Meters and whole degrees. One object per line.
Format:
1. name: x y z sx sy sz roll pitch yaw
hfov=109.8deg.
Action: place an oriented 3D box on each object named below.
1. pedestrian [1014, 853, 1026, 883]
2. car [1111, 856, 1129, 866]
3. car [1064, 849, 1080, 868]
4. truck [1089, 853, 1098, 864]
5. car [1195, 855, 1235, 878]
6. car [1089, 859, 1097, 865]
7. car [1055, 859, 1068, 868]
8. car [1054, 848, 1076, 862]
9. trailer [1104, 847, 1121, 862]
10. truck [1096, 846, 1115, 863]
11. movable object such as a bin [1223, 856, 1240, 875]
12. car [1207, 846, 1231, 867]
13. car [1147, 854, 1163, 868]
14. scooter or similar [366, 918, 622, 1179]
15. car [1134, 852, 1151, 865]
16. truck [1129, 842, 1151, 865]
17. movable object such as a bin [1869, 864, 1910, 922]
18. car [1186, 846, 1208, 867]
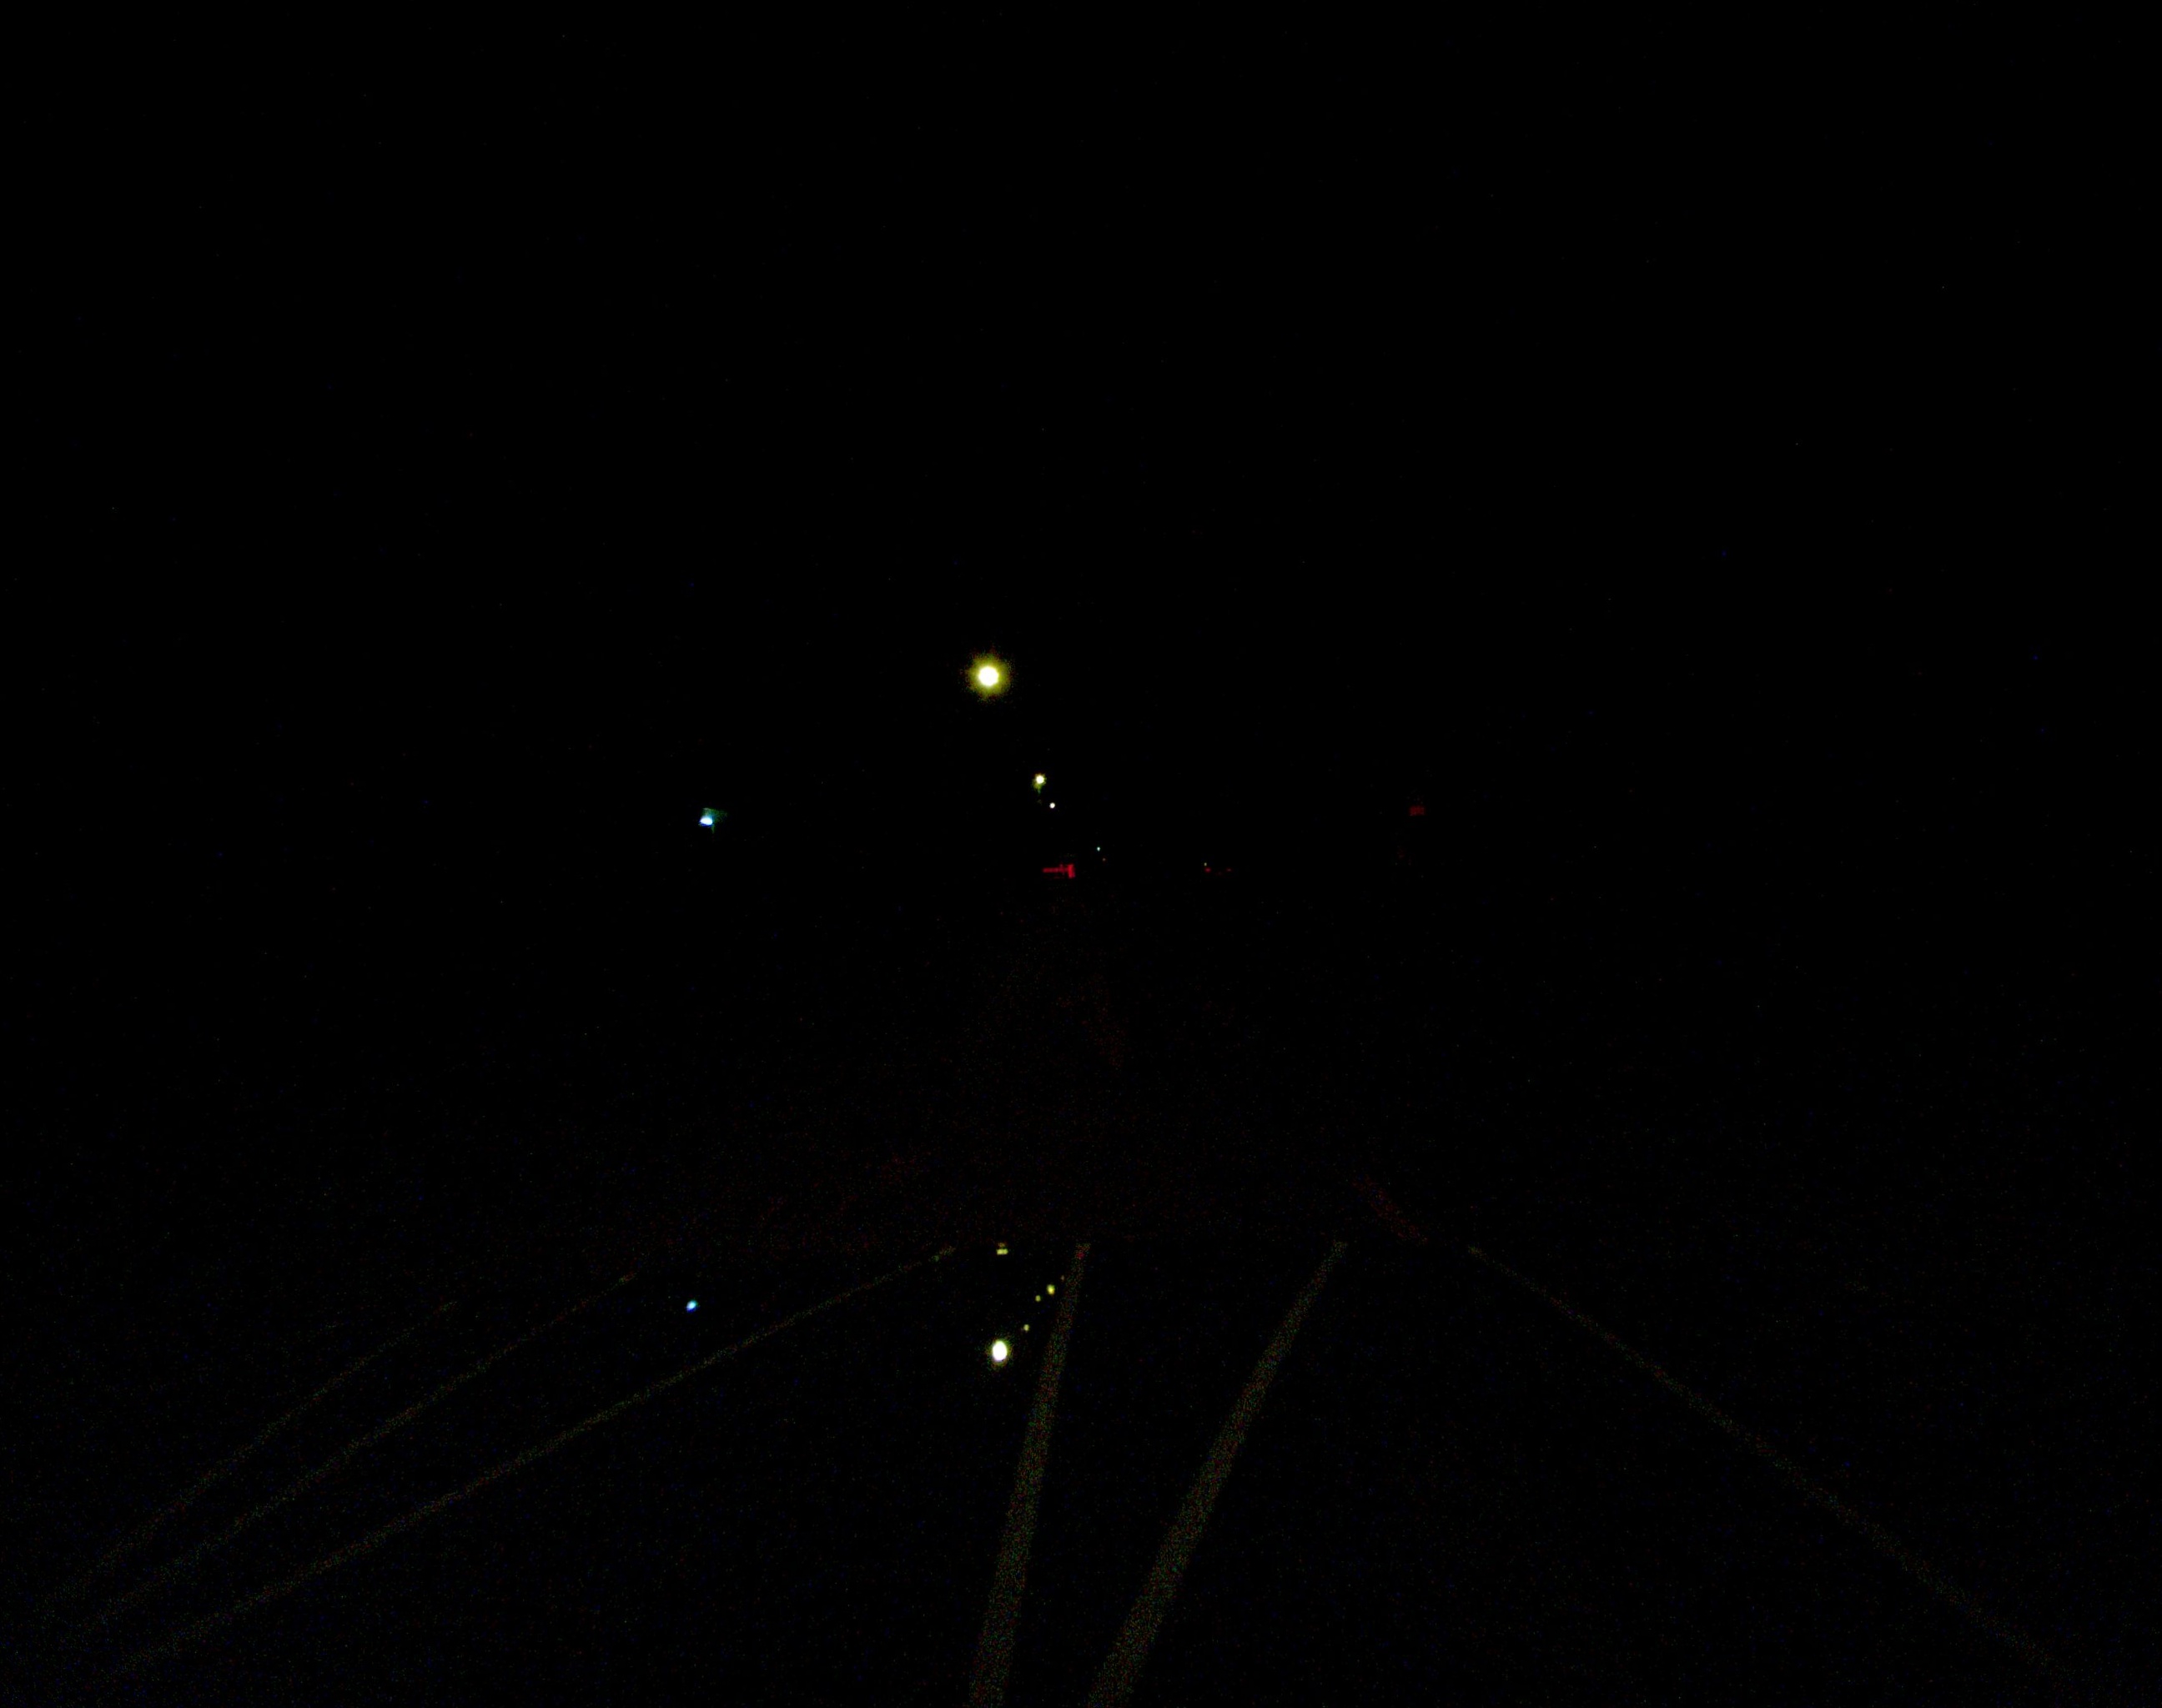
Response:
1. pedestrian: -3.698 0.841 46.122 0.571 1.842 0.820 -1 0 1
2. car: 6.657 1.196 130.225 2.000 1.761 4.688 -1 0 -10
3. car: -1.199 0.564 106.053 2.026 2.512 6.051 -2 0 0
4. truck: 3.134 1.190 195.555 2.138 2.597 7.098 0 0 -1
5. car: 8.588 0.755 49.137 1.916 1.395 4.338 -1 0 1
6. car: 2.962 1.967 185.946 1.862 1.630 3.999 0 0 -2
7. car: -3.451 1.661 132.707 1.716 1.499 3.996 -2 0 -11
8. car: -3.800 0.295 176.901 2.392 3.224 7.218 -1 0 -23
9. trailer: 5.843 0.104 140.968 2.212 2.779 4.612 -1 0 -11
10. truck: 4.754 0.103 148.441 2.381 3.224 7.226 -1 0 -9
11. movable object such as a bin: 12.290 0.927 61.981 1.167 1.487 1.065 -1 0 -2
12. car: 15.961 0.316 87.891 2.212 2.308 4.625 -1 0 4
13. car: 8.644 0.785 88.877 1.759 1.517 4.324 -1 0 5
14. scooter or similar: -3.484 1.074 4.648 0.495 1.254 1.320 1 0 2
15. car: 8.650 0.612 107.488 1.834 1.806 4.838 -1 0 -1
16. truck: 8.859 -0.046 114.358 2.550 3.261 7.311 -1 0 -1
17. movable object such as a bin: 18.567 0.889 17.452 0.622 1.299 0.567 1 0 -37
18. car: 13.209 0.330 86.831 1.998 2.308 4.968 1 0 4
